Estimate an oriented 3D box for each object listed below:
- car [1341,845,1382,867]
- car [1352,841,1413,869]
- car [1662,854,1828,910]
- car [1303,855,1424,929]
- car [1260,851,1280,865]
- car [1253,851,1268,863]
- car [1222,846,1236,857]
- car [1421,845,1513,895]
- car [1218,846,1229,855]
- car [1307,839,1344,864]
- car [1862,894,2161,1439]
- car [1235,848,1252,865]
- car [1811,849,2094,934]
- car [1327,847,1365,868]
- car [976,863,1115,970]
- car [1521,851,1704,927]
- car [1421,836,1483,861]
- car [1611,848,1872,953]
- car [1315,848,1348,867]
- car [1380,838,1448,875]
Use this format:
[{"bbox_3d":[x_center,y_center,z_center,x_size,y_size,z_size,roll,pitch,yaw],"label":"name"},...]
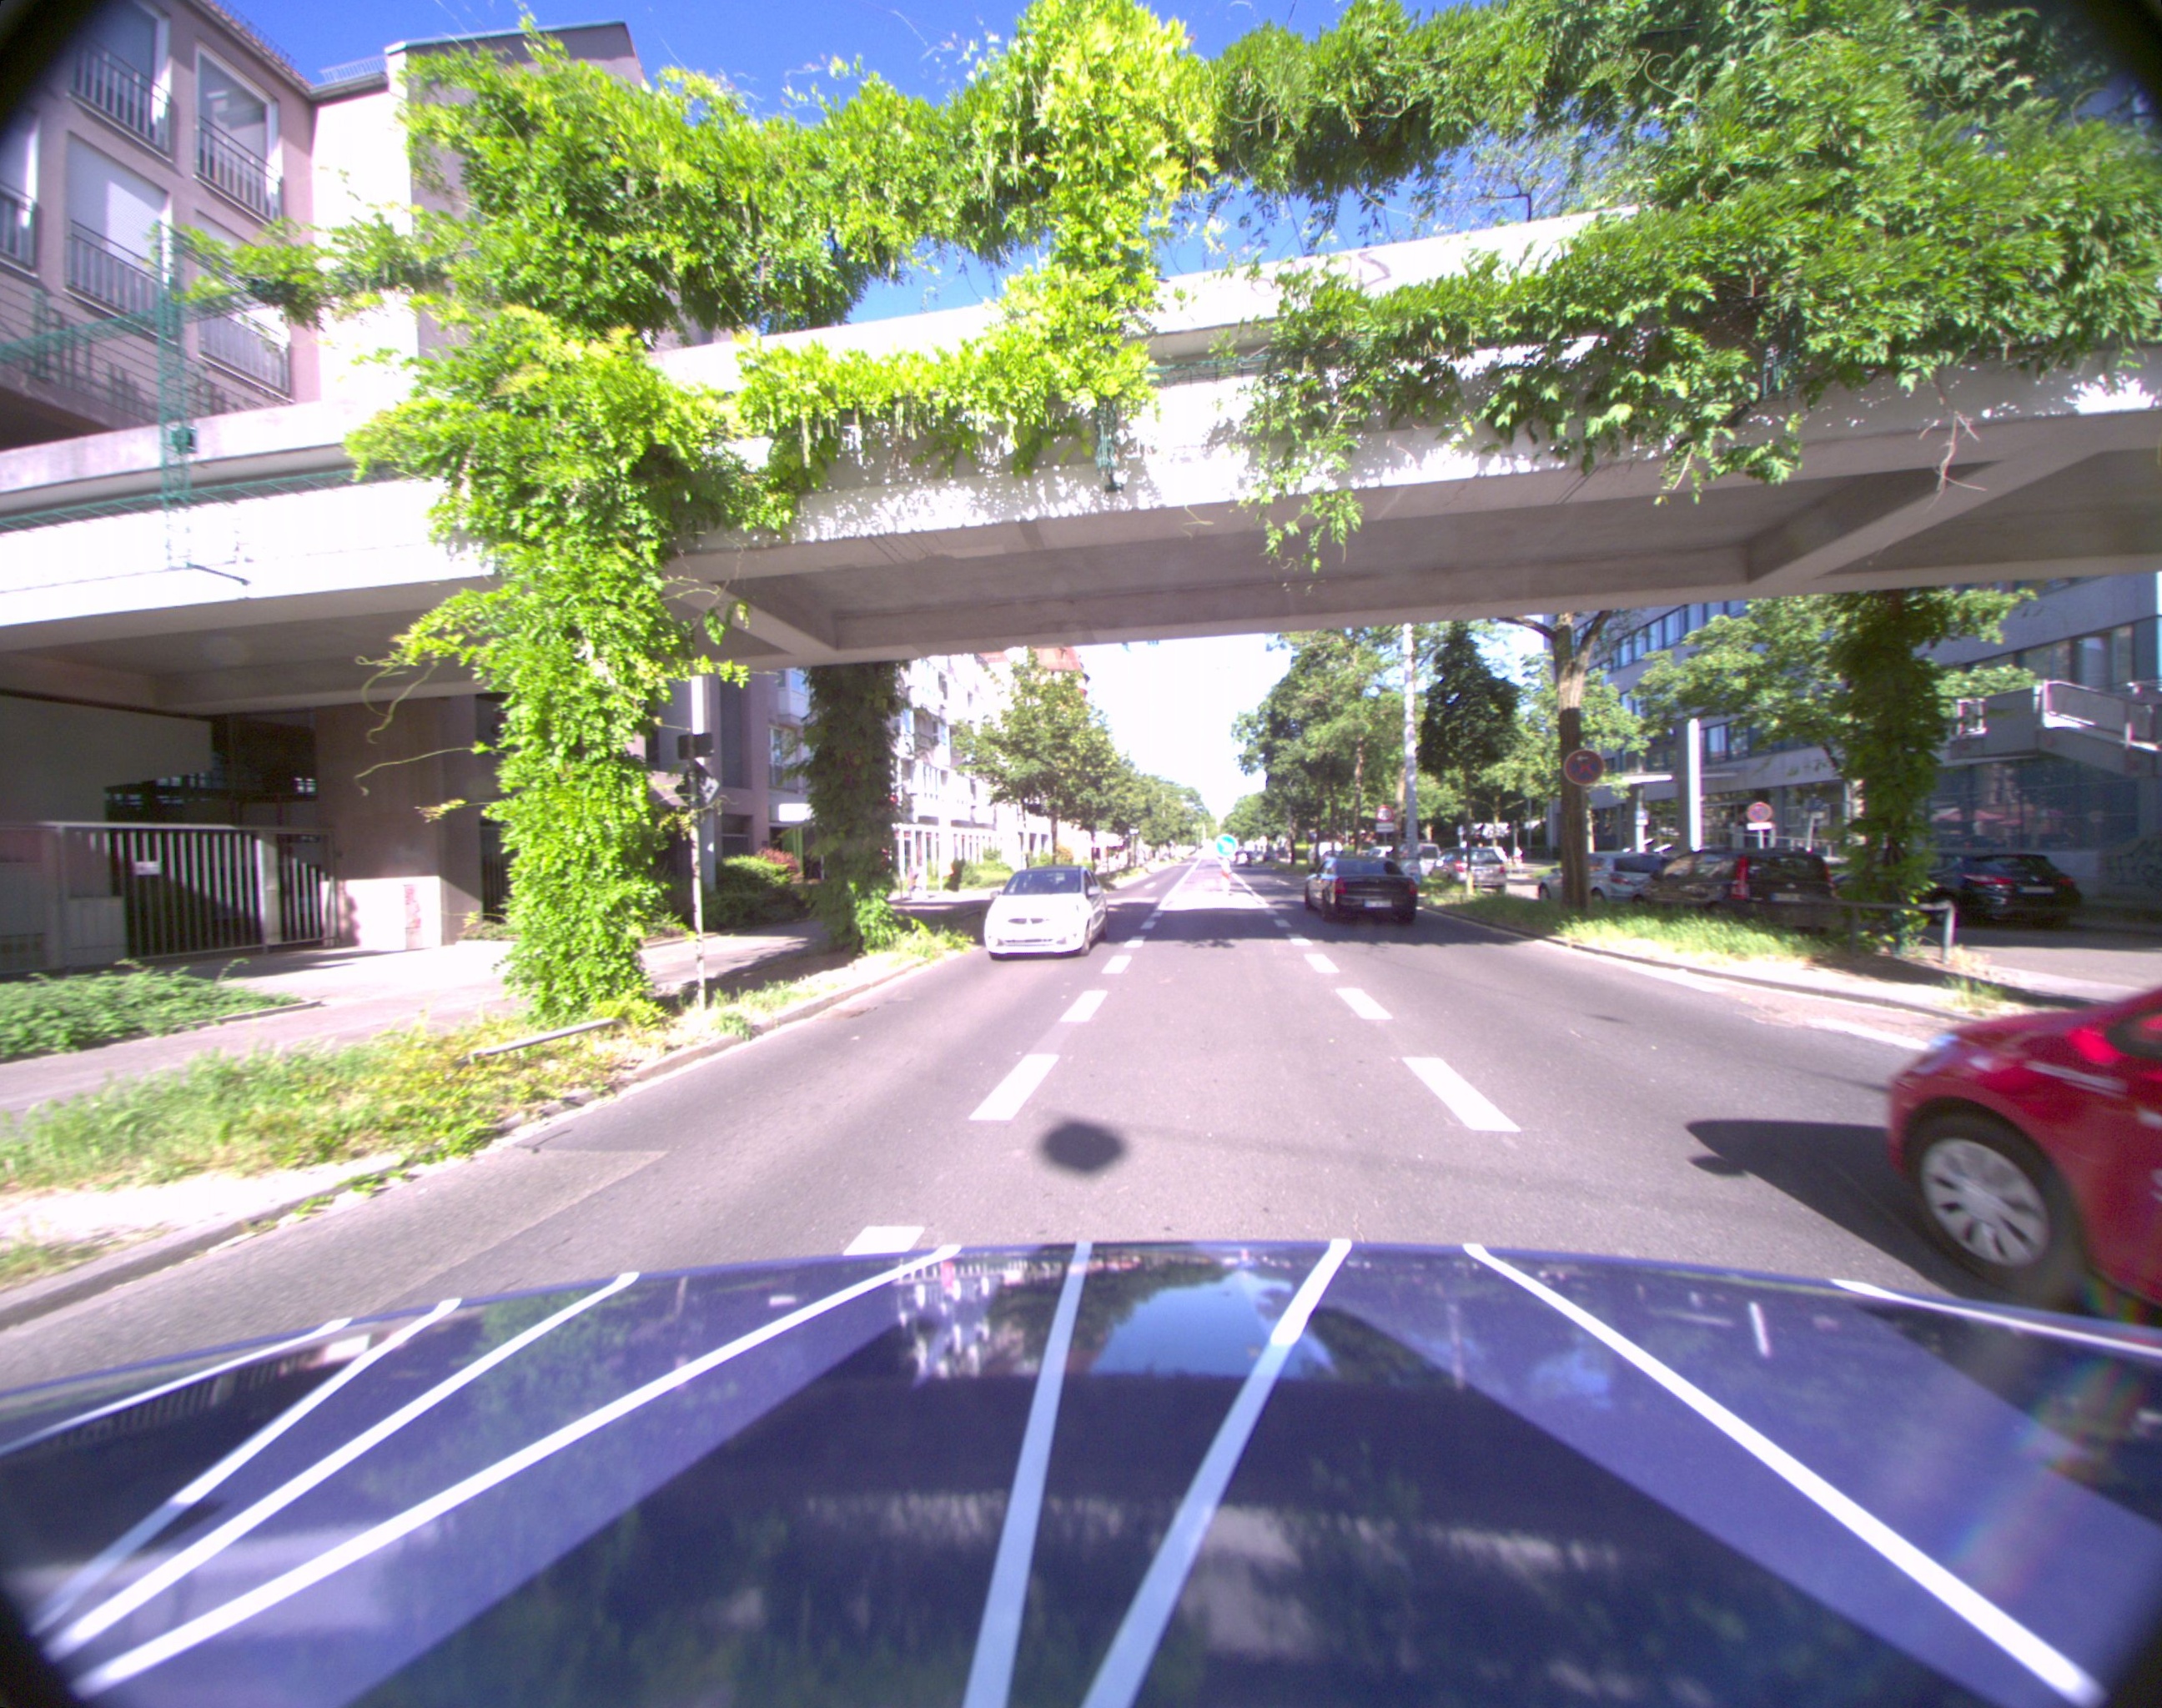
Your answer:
[{"bbox_3d":[16.784,0.086,45.652,1.654,1.219,3.850,-1,1,10],"label":"car"},{"bbox_3d":[16.133,0.043,40.929,1.720,1.375,4.493,-1,1,3],"label":"car"},{"bbox_3d":[18.624,0.720,21.570,1.684,1.395,3.802,-1,1,6],"label":"car"},{"bbox_3d":[6.418,0.777,17.805,1.869,1.450,4.596,-1,1,10],"label":"car"},{"bbox_3d":[20.552,0.405,82.769,1.739,1.481,4.003,-1,1,10],"label":"car"},{"bbox_3d":[22.267,0.349,94.177,1.604,1.406,4.003,-1,1,10],"label":"car"},{"bbox_3d":[20.609,-0.353,105.897,1.790,1.414,4.191,0,1,9],"label":"car"},{"bbox_3d":[13.611,0.501,27.056,1.776,1.637,4.086,-1,1,10],"label":"car"},{"bbox_3d":[25.034,-0.672,133.458,1.791,1.575,4.191,-1,1,9],"label":"car"},{"bbox_3d":[19.666,-0.198,61.325,2.069,1.898,4.528,-1,1,8],"label":"car"},{"bbox_3d":[3.624,0.880,1.140,1.654,1.420,3.509,-1,1,9],"label":"car"},{"bbox_3d":[15.031,0.223,70.420,1.469,1.518,2.818,-1,1,10],"label":"car"},{"bbox_3d":[17.844,0.684,15.898,1.735,1.521,4.002,-1,1,9],"label":"car"},{"bbox_3d":[17.761,0.223,51.073,1.655,1.336,3.971,-1,1,8],"label":"car"},{"bbox_3d":[-0.460,0.981,13.608,1.662,1.521,4.102,-1,0,9],"label":"car"},{"bbox_3d":[12.067,0.703,17.643,1.655,1.440,4.284,2,1,8],"label":"car"},{"bbox_3d":[28.744,-0.416,59.049,3.993,1.704,1.707,-4,1,14],"label":"car"},{"bbox_3d":[11.369,0.689,13.481,1.743,1.529,3.781,1,1,10],"label":"car"},{"bbox_3d":[18.500,0.230,56.280,1.678,1.325,4.191,-1,1,10],"label":"car"},{"bbox_3d":[15.157,0.071,34.812,1.733,1.540,4.451,-1,1,9],"label":"car"}]
